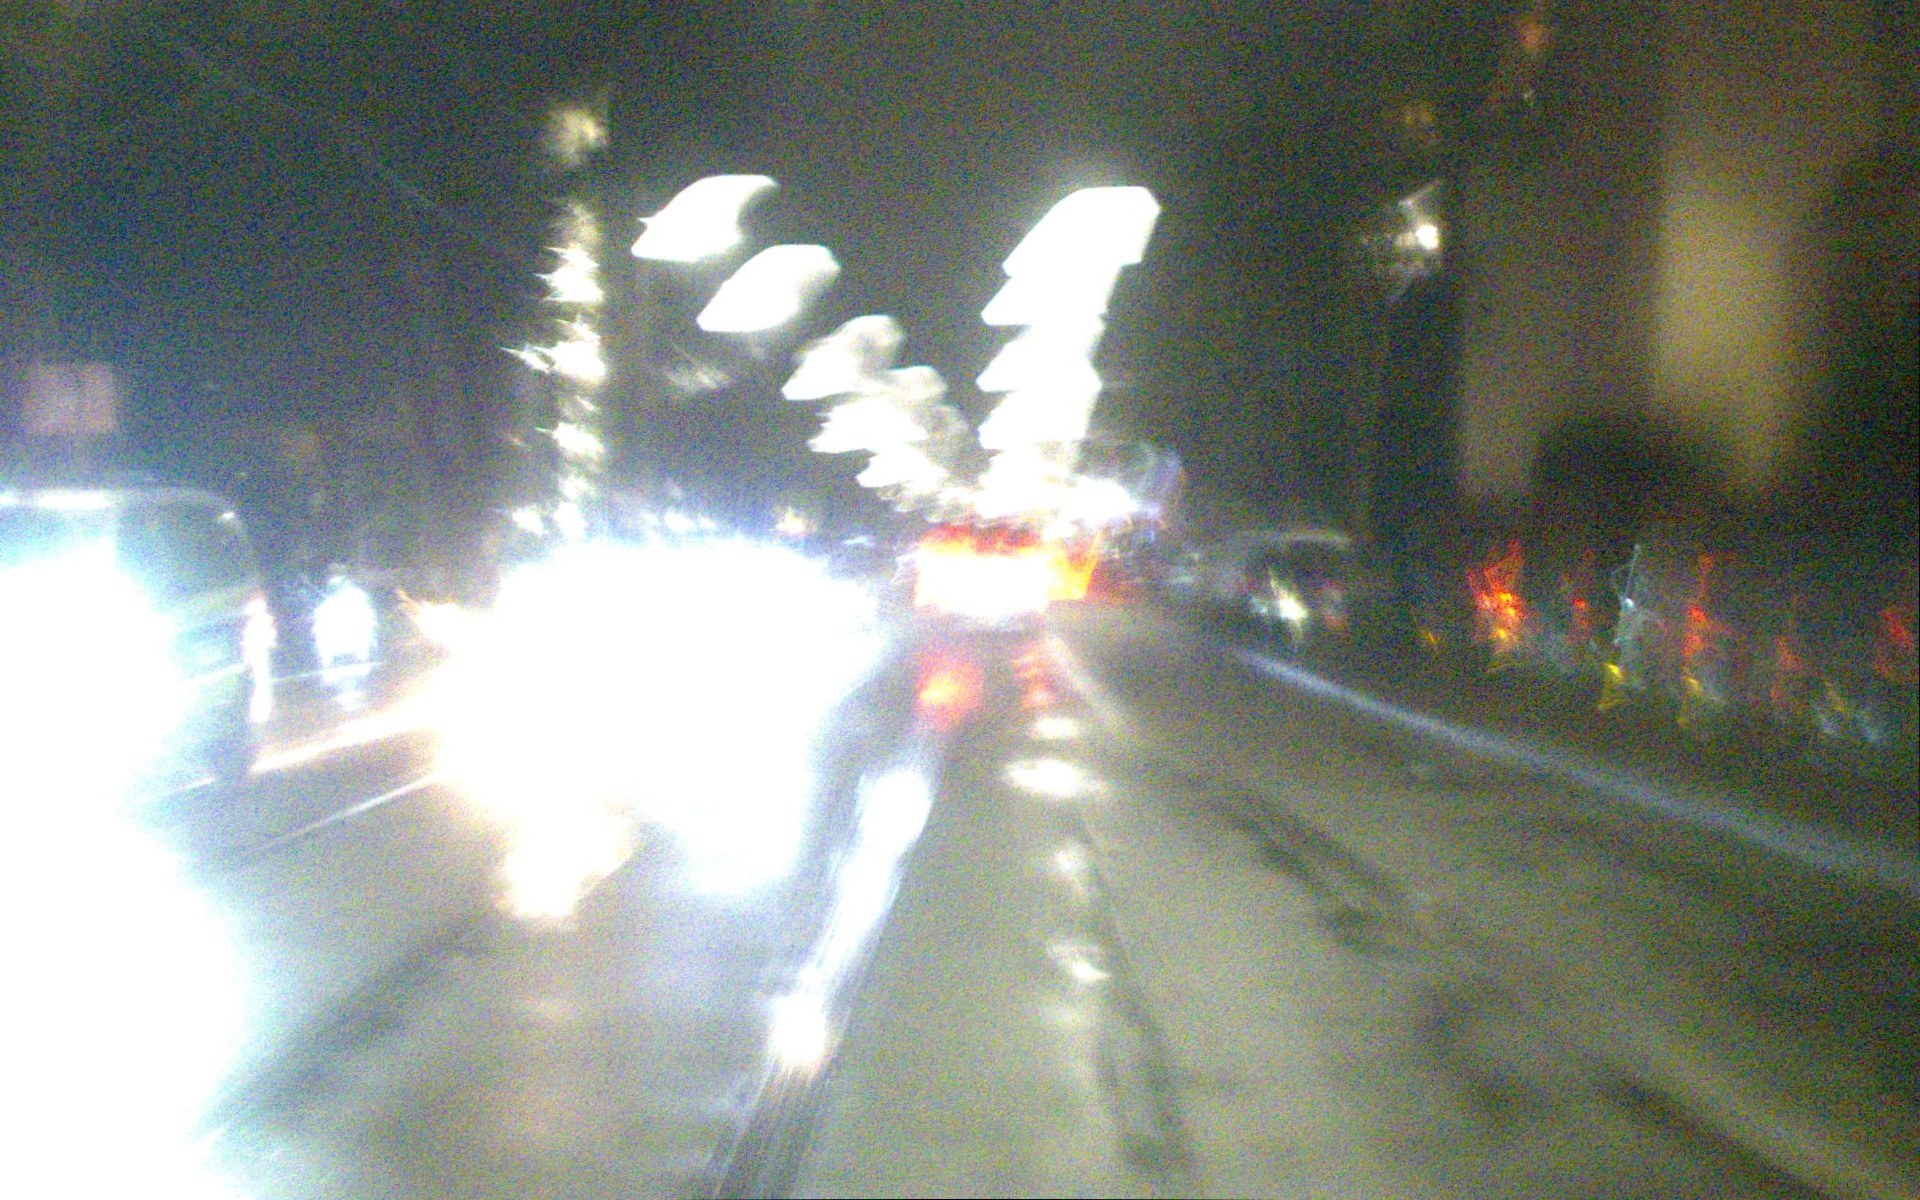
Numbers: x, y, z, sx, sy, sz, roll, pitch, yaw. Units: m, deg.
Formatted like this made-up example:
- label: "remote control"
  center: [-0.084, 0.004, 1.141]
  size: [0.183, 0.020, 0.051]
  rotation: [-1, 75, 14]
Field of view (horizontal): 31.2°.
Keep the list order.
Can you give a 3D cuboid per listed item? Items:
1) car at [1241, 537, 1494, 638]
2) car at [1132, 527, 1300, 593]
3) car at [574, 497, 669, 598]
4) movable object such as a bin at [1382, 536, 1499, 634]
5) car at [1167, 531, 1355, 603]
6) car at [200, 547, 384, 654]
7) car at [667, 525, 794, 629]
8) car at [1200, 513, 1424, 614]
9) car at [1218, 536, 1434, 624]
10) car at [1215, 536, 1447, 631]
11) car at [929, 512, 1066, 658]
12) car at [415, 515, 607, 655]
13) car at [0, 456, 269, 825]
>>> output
- label: "car"
  center: [6.304, -0.186, 52.955]
  size: [3.779, 1.453, 1.769]
  rotation: [1, 1, -42]
- label: "car"
  center: [6.200, -0.953, 83.099]
  size: [3.877, 1.528, 1.821]
  rotation: [0, 1, -41]
- label: "car"
  center: [-8.818, -1.400, 89.946]
  size: [2.024, 2.490, 5.608]
  rotation: [2, 1, -2]
- label: "movable object such as a bin"
  center: [6.961, -0.222, 49.835]
  size: [1.347, 1.402, 1.027]
  rotation: [0, 1, -19]
- label: "car"
  center: [6.509, -0.737, 73.994]
  size: [1.691, 1.399, 4.447]
  rotation: [2, 3, 42]
- label: "car"
  center: [-9.334, 0.008, 48.297]
  size: [1.668, 1.382, 4.001]
  rotation: [2, 0, 1]
- label: "car"
  center: [-4.265, -0.457, 64.500]
  size: [1.938, 1.809, 4.385]
  rotation: [-2, 1, 1]
- label: "car"
  center: [6.884, -0.705, 67.006]
  size: [4.162, 1.833, 1.962]
  rotation: [1, 1, -41]
- label: "car"
  center: [6.341, -0.335, 59.358]
  size: [3.825, 1.433, 1.599]
  rotation: [1, 1, -44]
- label: "car"
  center: [6.062, -0.288, 55.956]
  size: [1.806, 1.483, 3.846]
  rotation: [1, 1, 43]
- label: "car"
  center: [0.610, -0.295, 60.738]
  size: [2.216, 2.433, 5.385]
  rotation: [1, 1, -1]
- label: "car"
  center: [-5.106, -0.213, 39.590]
  size: [1.651, 1.474, 4.206]
  rotation: [-2, 1, 0]
- label: "car"
  center: [-5.496, 0.172, 19.854]
  size: [1.926, 1.873, 4.637]
  rotation: [-2, 1, 1]
